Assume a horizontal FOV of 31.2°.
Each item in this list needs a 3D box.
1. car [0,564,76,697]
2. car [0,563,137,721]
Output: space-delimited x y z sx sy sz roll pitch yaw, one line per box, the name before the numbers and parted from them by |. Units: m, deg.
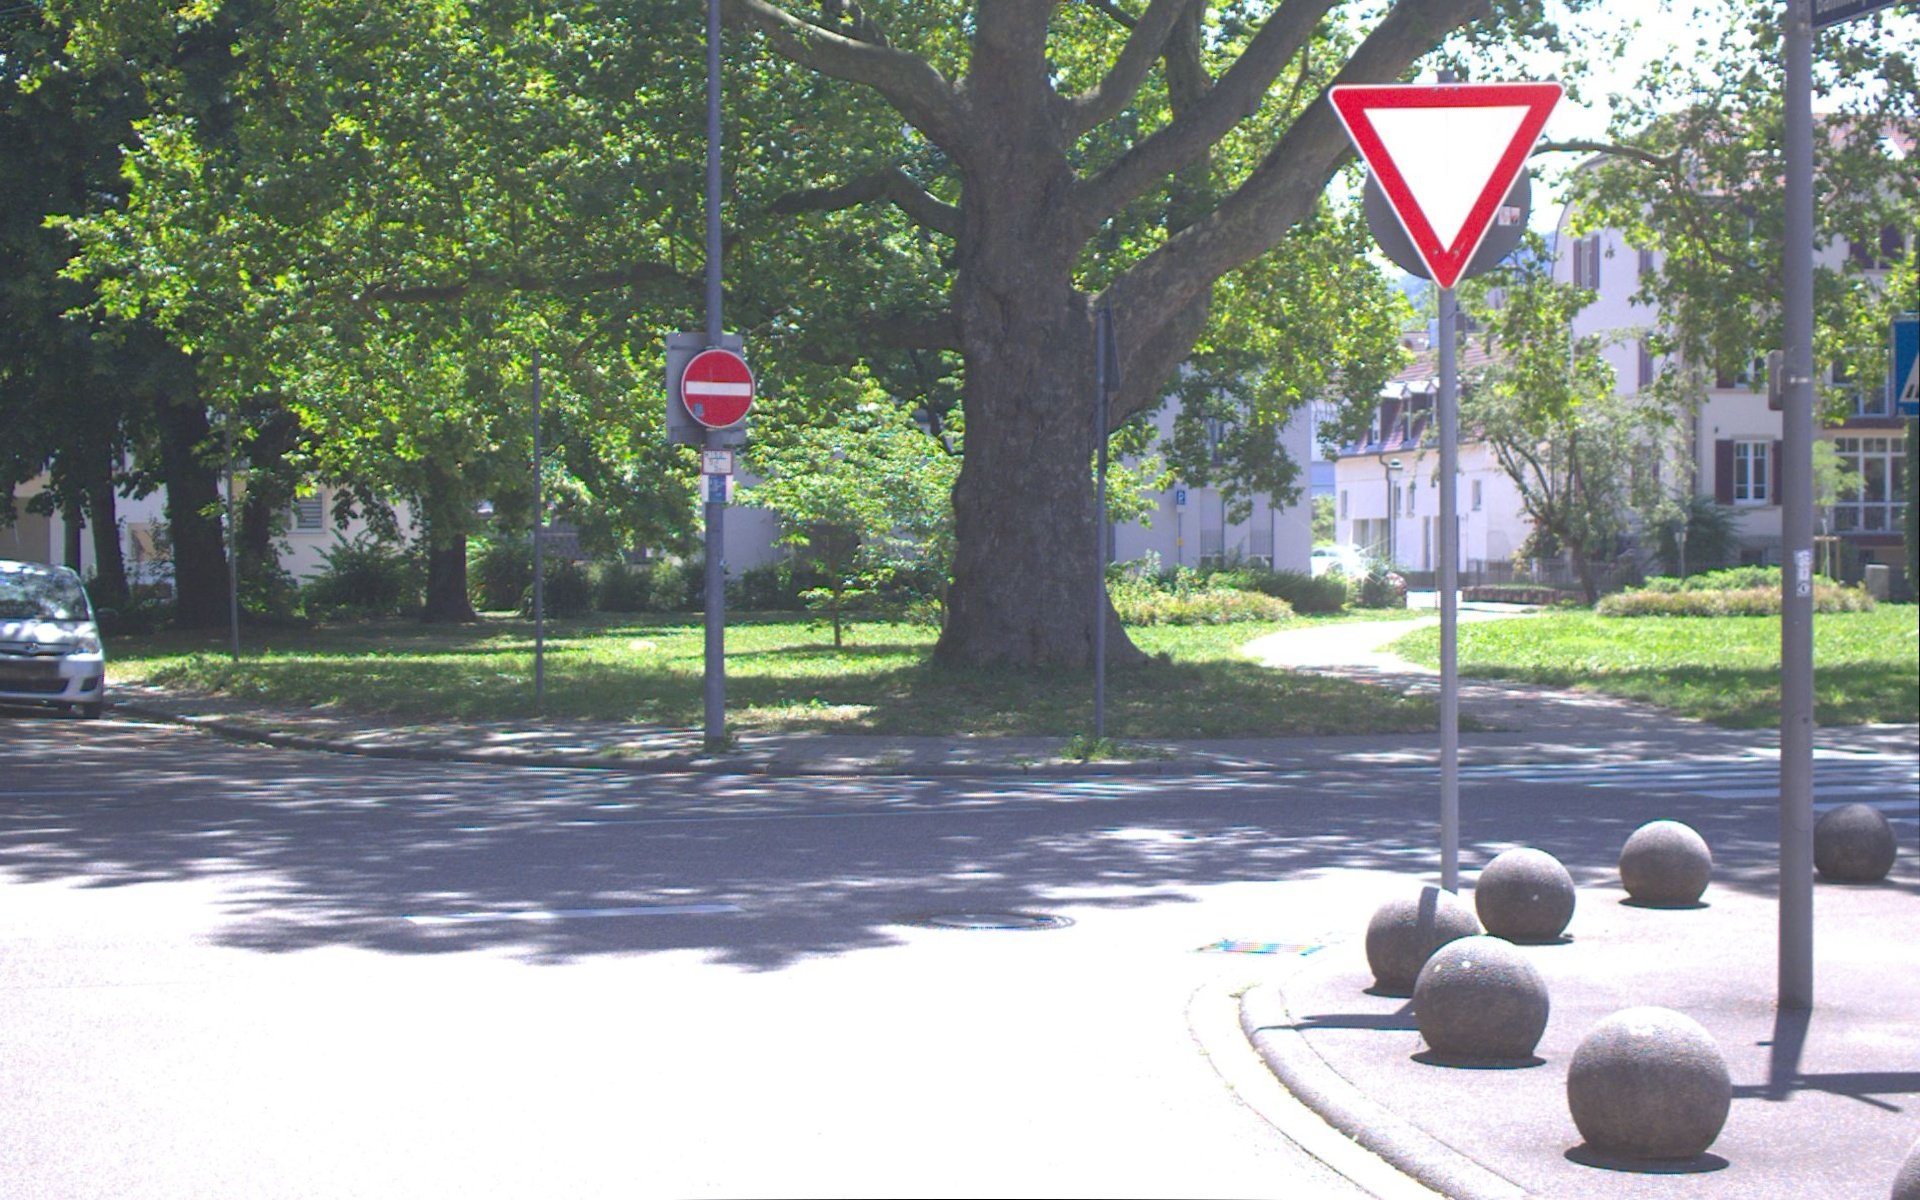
car | -11.388 0.303 39.514 1.750 1.434 4.504 1 1 -22
car | -9.366 0.384 34.514 1.594 1.492 3.487 1 1 -22
